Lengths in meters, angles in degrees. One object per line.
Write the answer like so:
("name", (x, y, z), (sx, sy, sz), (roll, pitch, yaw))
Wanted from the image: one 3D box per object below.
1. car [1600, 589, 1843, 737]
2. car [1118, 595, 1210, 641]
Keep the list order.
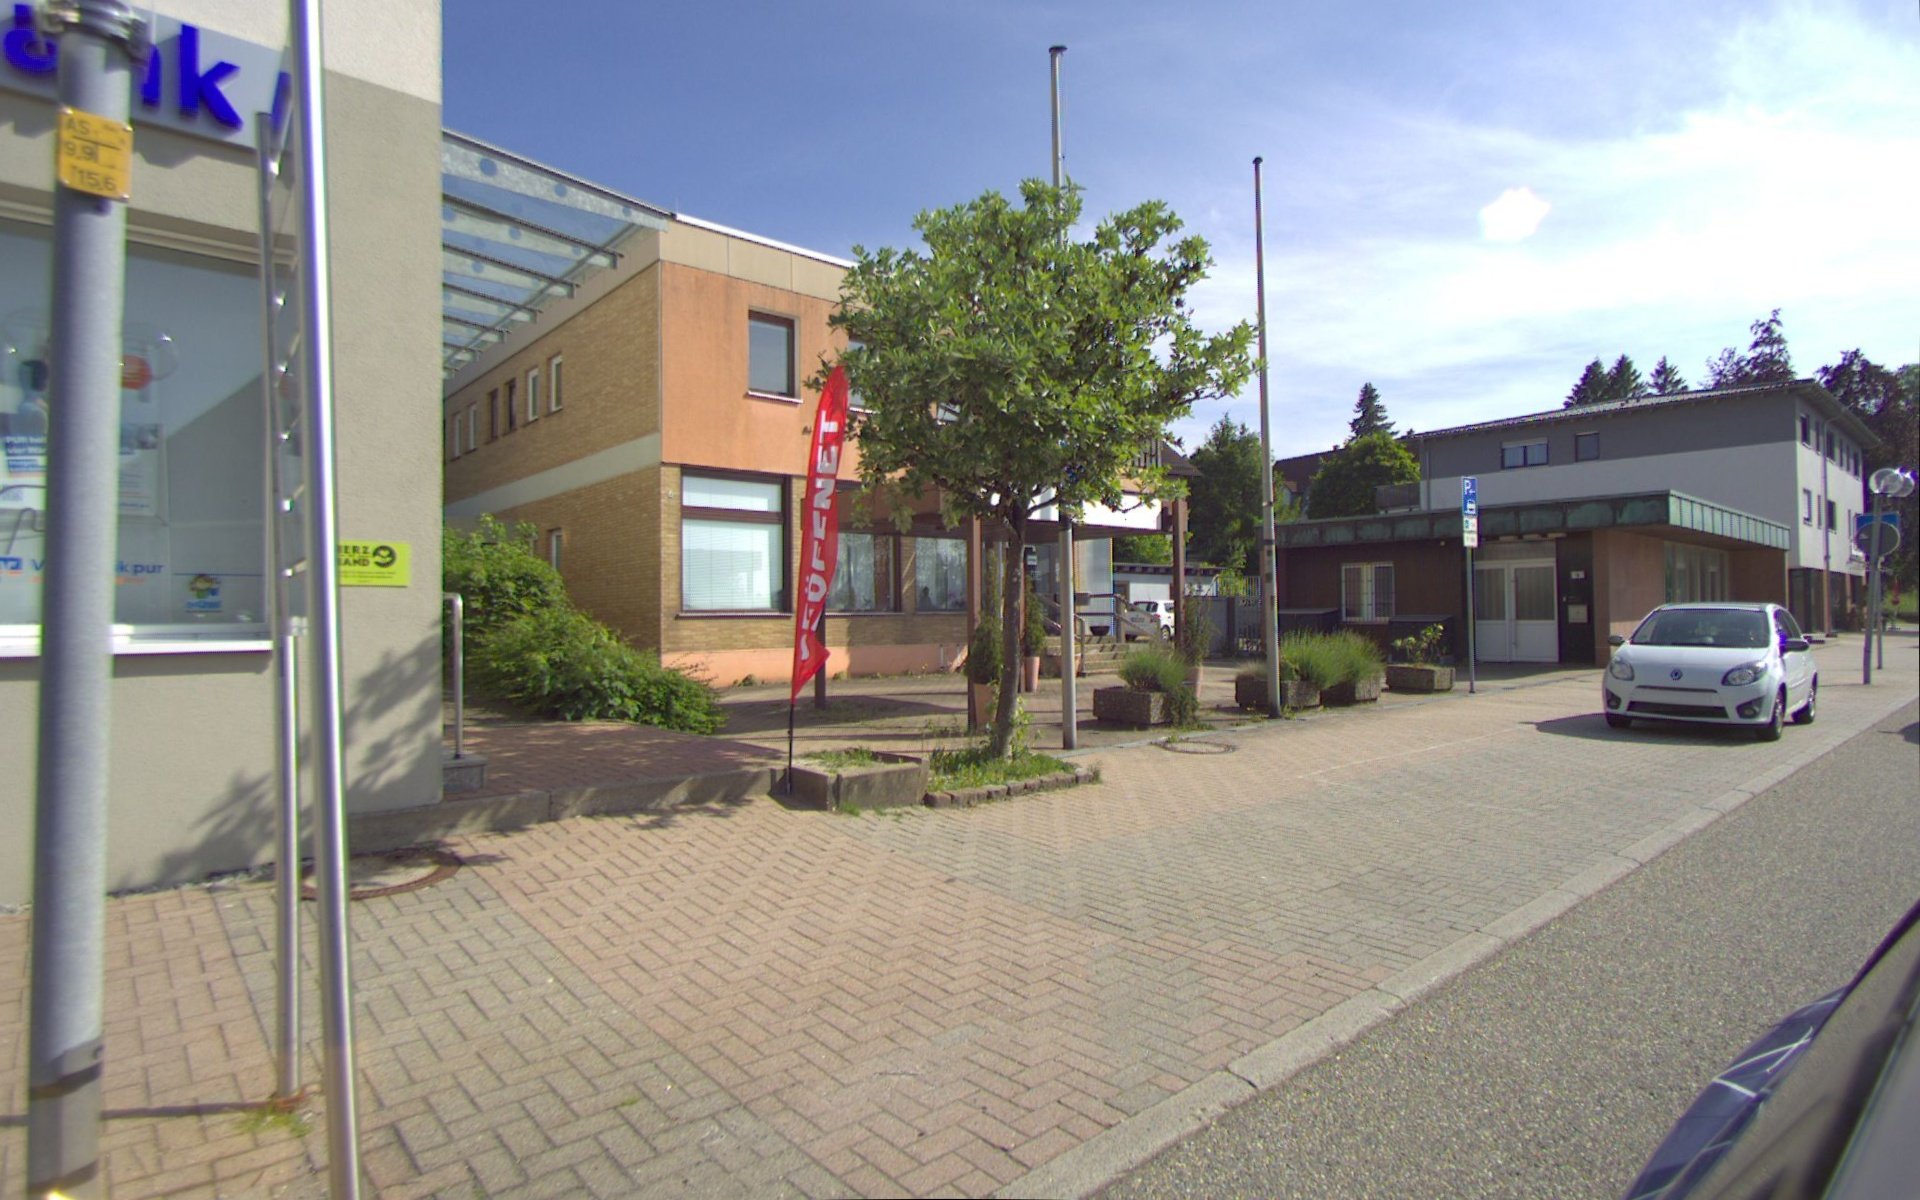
("car", (9.126, 0.628, 12.033), (3.574, 1.441, 1.762), (0, 2, -44))
("car", (7.328, 0.602, 36.167), (3.256, 1.502, 1.491), (0, 2, -40))
